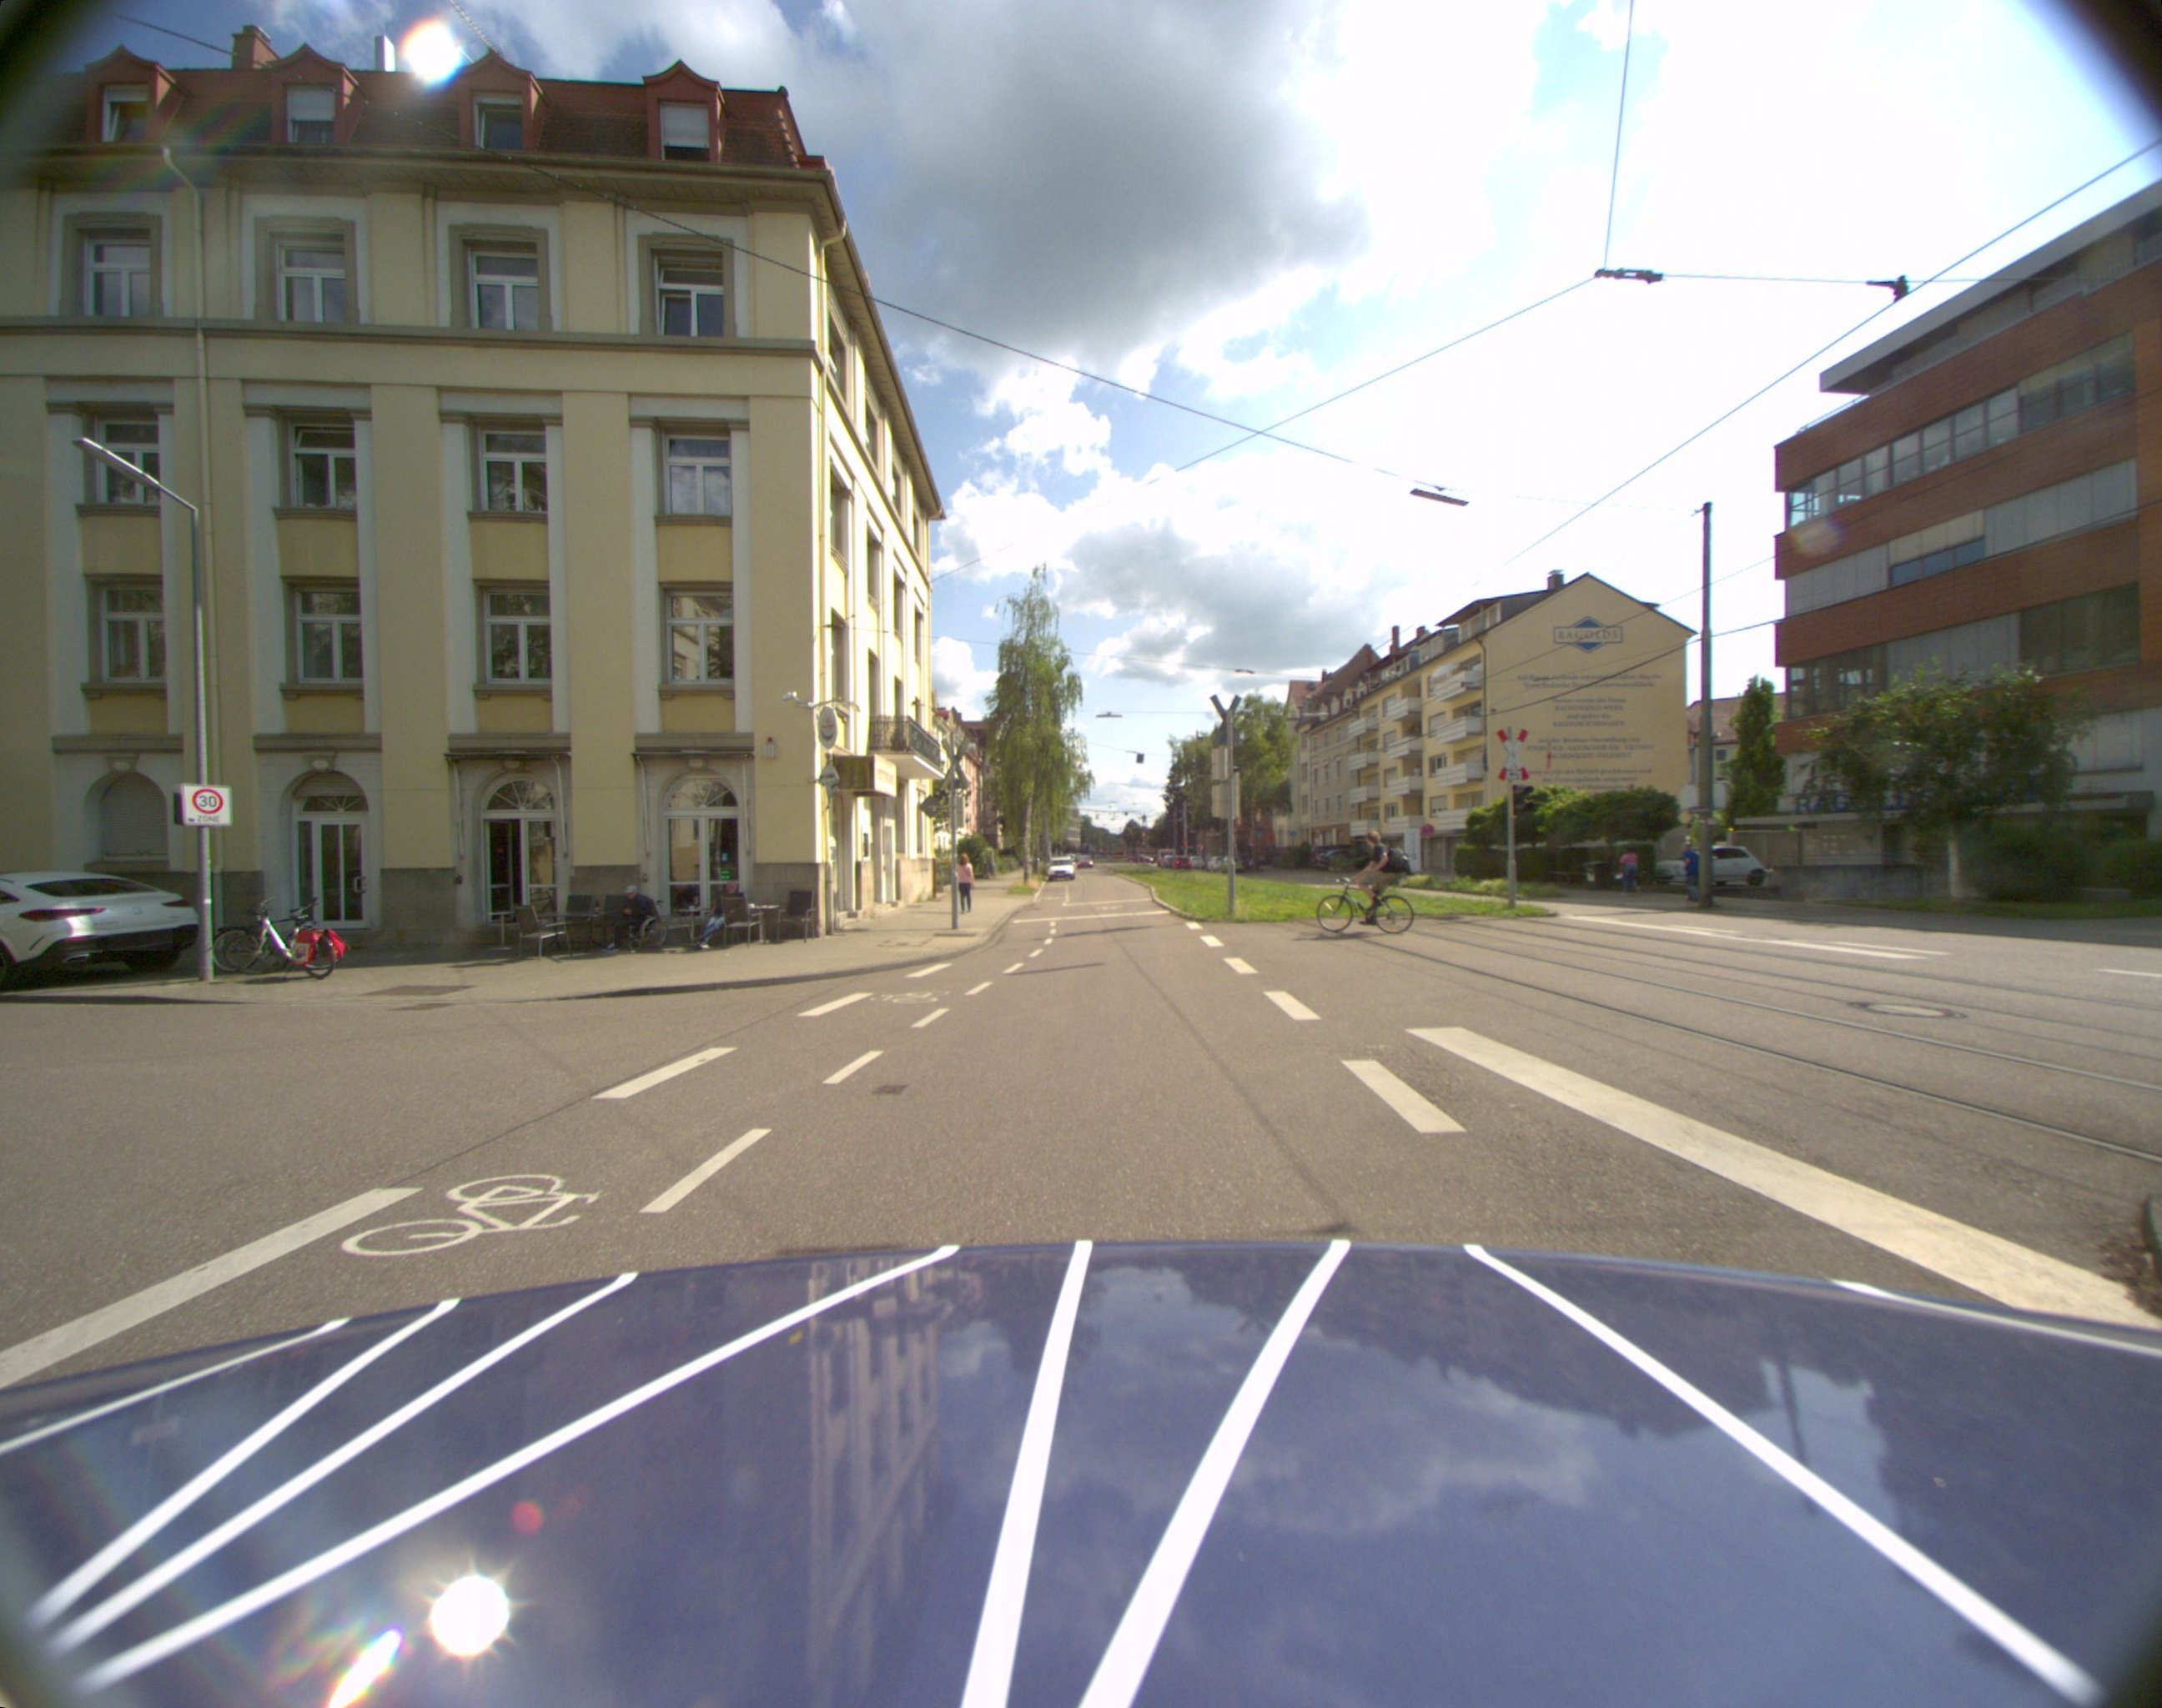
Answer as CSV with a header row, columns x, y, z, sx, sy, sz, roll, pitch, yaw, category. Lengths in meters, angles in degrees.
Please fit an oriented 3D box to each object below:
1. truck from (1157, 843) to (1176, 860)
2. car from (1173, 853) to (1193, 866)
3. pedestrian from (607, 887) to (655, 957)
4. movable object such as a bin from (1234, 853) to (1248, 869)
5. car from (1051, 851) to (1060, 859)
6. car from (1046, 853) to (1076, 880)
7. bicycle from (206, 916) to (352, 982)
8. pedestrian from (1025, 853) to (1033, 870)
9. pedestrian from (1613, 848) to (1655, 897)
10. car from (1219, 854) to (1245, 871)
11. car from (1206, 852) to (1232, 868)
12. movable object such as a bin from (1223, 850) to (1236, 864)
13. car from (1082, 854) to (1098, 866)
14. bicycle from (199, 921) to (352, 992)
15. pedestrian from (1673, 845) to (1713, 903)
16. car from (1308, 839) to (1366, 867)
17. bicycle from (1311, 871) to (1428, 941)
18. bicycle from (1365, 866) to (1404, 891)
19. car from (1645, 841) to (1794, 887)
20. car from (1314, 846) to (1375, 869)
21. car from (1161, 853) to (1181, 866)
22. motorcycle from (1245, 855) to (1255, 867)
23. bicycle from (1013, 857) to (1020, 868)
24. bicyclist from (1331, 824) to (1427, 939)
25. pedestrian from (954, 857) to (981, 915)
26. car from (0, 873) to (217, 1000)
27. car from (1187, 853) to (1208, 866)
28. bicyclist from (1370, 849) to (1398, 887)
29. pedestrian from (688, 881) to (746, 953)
x,y,z,sx,sy,sz,roll,pitch,yaw,category
11.475,-0.360,101.933,2.190,2.201,6.613,0,0,3,truck
10.548,0.537,79.042,1.583,1.378,3.692,0,0,0,car
-8.509,1.276,14.384,0.536,1.261,0.661,0,1,-4,pedestrian
15.571,0.680,74.112,0.953,1.421,1.521,-3,0,-2,movable object such as a bin
-5.769,0.179,169.429,1.999,1.730,3.999,-1,0,-2,car
-1.283,0.773,50.572,1.725,1.620,4.000,-3,0,2,car
-12.764,1.505,12.120,1.652,0.963,0.584,0,3,0,bicycle
-5.047,0.700,74.051,0.731,1.673,0.691,1,1,2,pedestrian
18.295,0.597,25.170,0.747,1.565,0.889,-1,2,1,pedestrian
13.438,0.730,67.841,1.598,1.423,3.614,0,0,0,car
13.222,0.583,72.857,1.649,1.469,4.225,1,0,0,car
15.778,0.301,80.575,0.953,1.359,1.521,-6,0,-2,movable object such as a bin
1.088,0.710,91.592,1.740,1.313,4.000,-3,0,3,car
-12.241,1.546,11.576,1.652,0.963,0.584,-1,2,0,bicycle
17.634,0.571,21.911,0.558,1.647,0.747,-1,1,1,pedestrian
20.770,-0.074,61.792,3.996,2.002,1.937,-3,0,2,car
5.266,0.932,14.017,1.785,1.171,1.158,-2,1,8,bicycle
12.758,1.017,32.015,0.682,0.965,2.178,0,0,-3,bicycle
23.787,0.347,28.383,3.998,1.587,1.999,-1,0,-4,car
20.434,0.255,59.058,3.997,1.593,1.972,-3,0,-1,car
10.242,0.603,86.344,1.759,1.348,4.512,1,1,1,car
15.472,0.656,69.544,0.500,1.037,1.632,-4,1,-1,motorcycle
-6.522,0.842,77.122,0.472,1.071,2.183,-1,0,0,bicycle
5.466,0.483,13.965,1.572,2.002,0.952,0,1,22,bicyclist
-3.296,0.925,22.064,0.675,1.638,0.763,1,-2,-15,pedestrian
-16.752,1.225,11.739,4.769,1.723,1.913,-1,0,3,car
13.206,0.608,86.299,1.759,1.348,3.995,0,0,1,car
12.722,0.572,31.882,0.787,1.572,0.863,0,1,-4,bicyclist
-7.184,1.211,15.059,0.536,1.261,1.303,-2,2,-4,pedestrian
